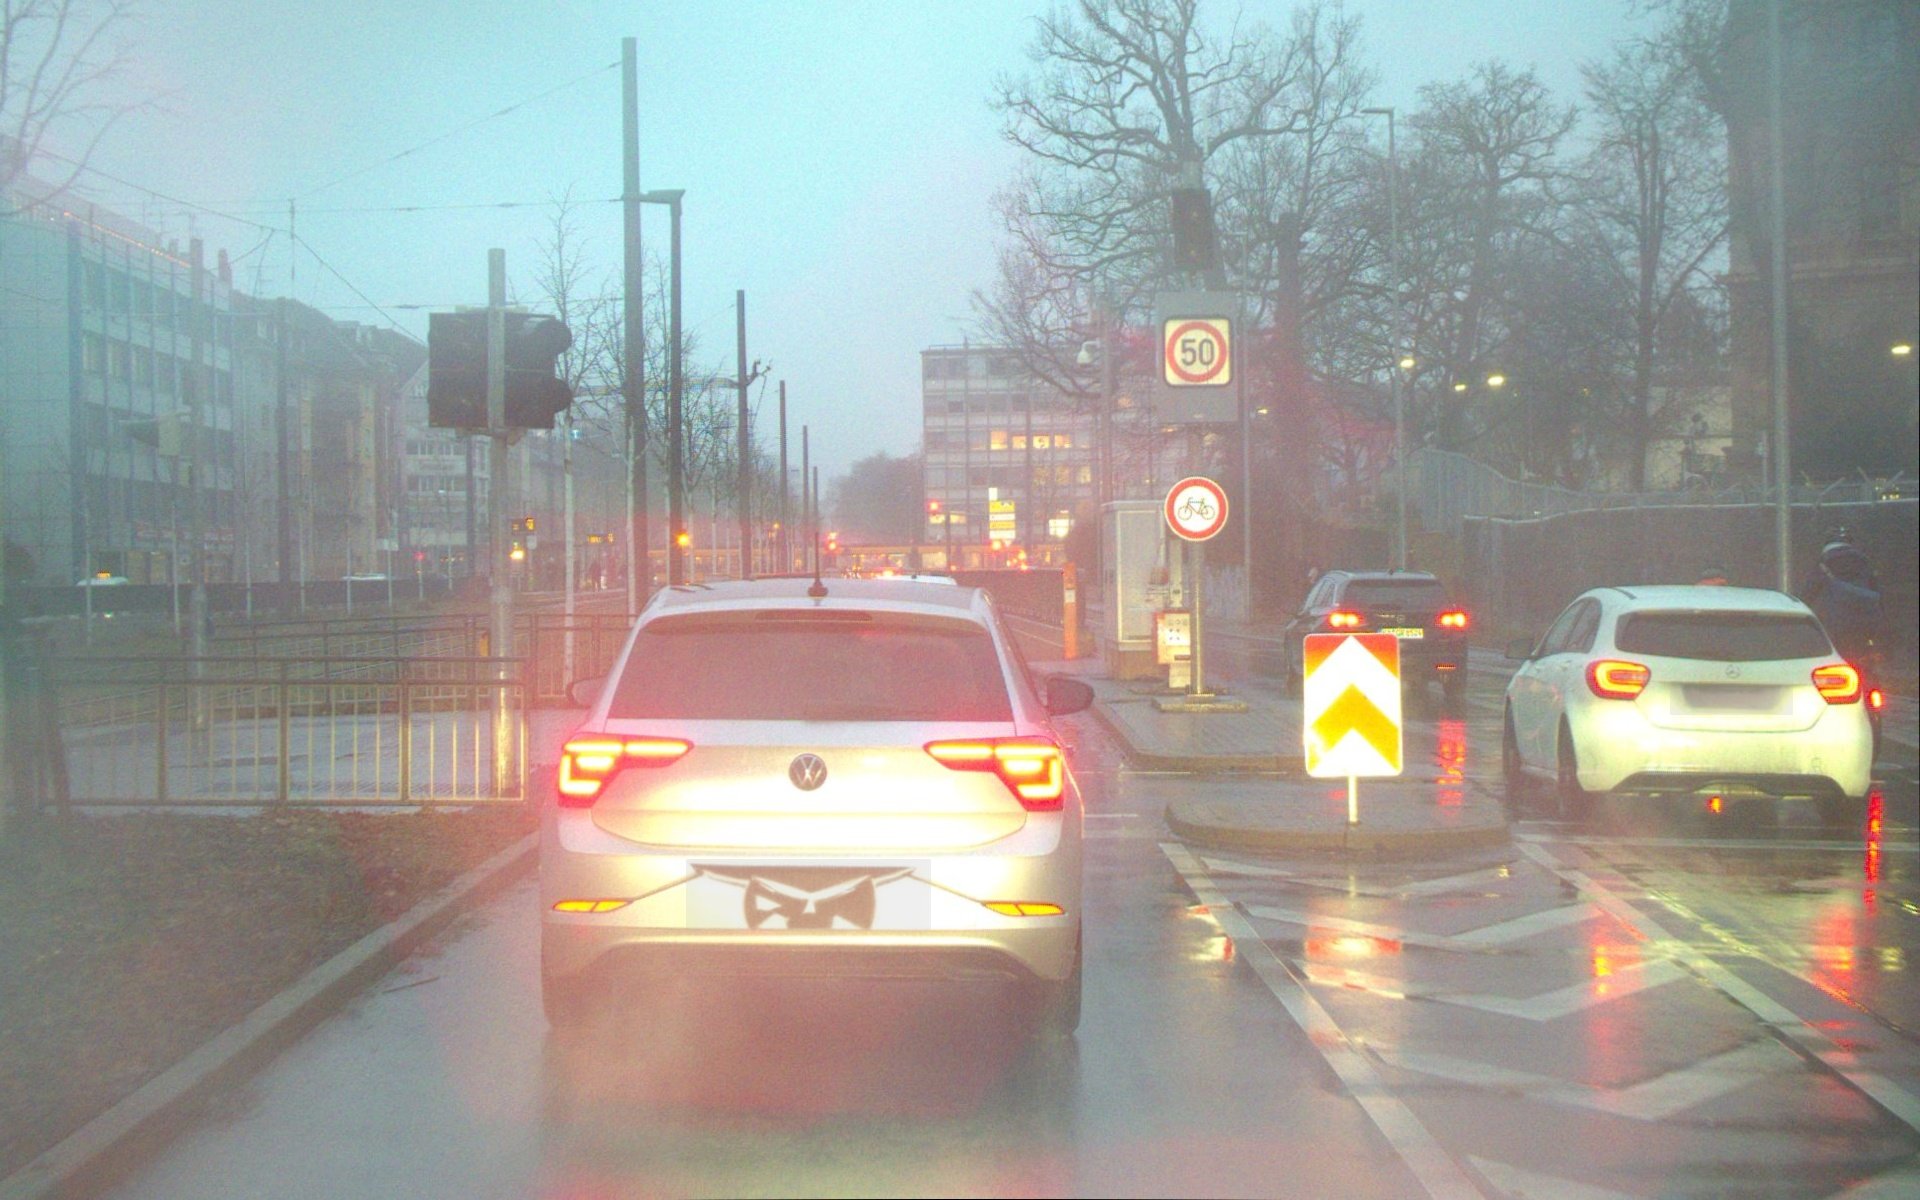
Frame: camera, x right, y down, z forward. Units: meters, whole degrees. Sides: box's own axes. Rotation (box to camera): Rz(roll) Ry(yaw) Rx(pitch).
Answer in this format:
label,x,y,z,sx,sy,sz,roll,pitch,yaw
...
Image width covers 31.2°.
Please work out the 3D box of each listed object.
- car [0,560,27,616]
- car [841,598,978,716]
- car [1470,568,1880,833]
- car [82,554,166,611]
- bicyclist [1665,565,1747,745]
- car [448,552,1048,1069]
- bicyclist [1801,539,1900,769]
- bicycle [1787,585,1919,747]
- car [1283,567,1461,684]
label,x,y,z,sx,sy,sz,roll,pitch,yaw
car,-30.028,-0.350,105.262,1.993,1.687,4.112,-1,1,-3
car,-0.647,0.735,46.102,1.722,1.474,4.000,1,0,0
car,4.372,0.573,21.598,1.722,1.474,4.000,1,0,0
car,-29.600,-0.645,121.850,1.993,1.926,4.913,-1,1,-3
bicyclist,6.725,0.486,31.011,0.500,1.586,0.837,-1,1,-3
car,-0.614,0.599,12.028,1.722,1.474,4.000,1,0,0
bicyclist,6.941,0.407,26.823,0.500,1.761,0.837,-1,1,-3
bicycle,6.932,0.489,26.690,0.411,1.181,2.029,-1,1,-3
car,4.844,0.291,40.884,1.623,1.295,4.000,1,0,0
